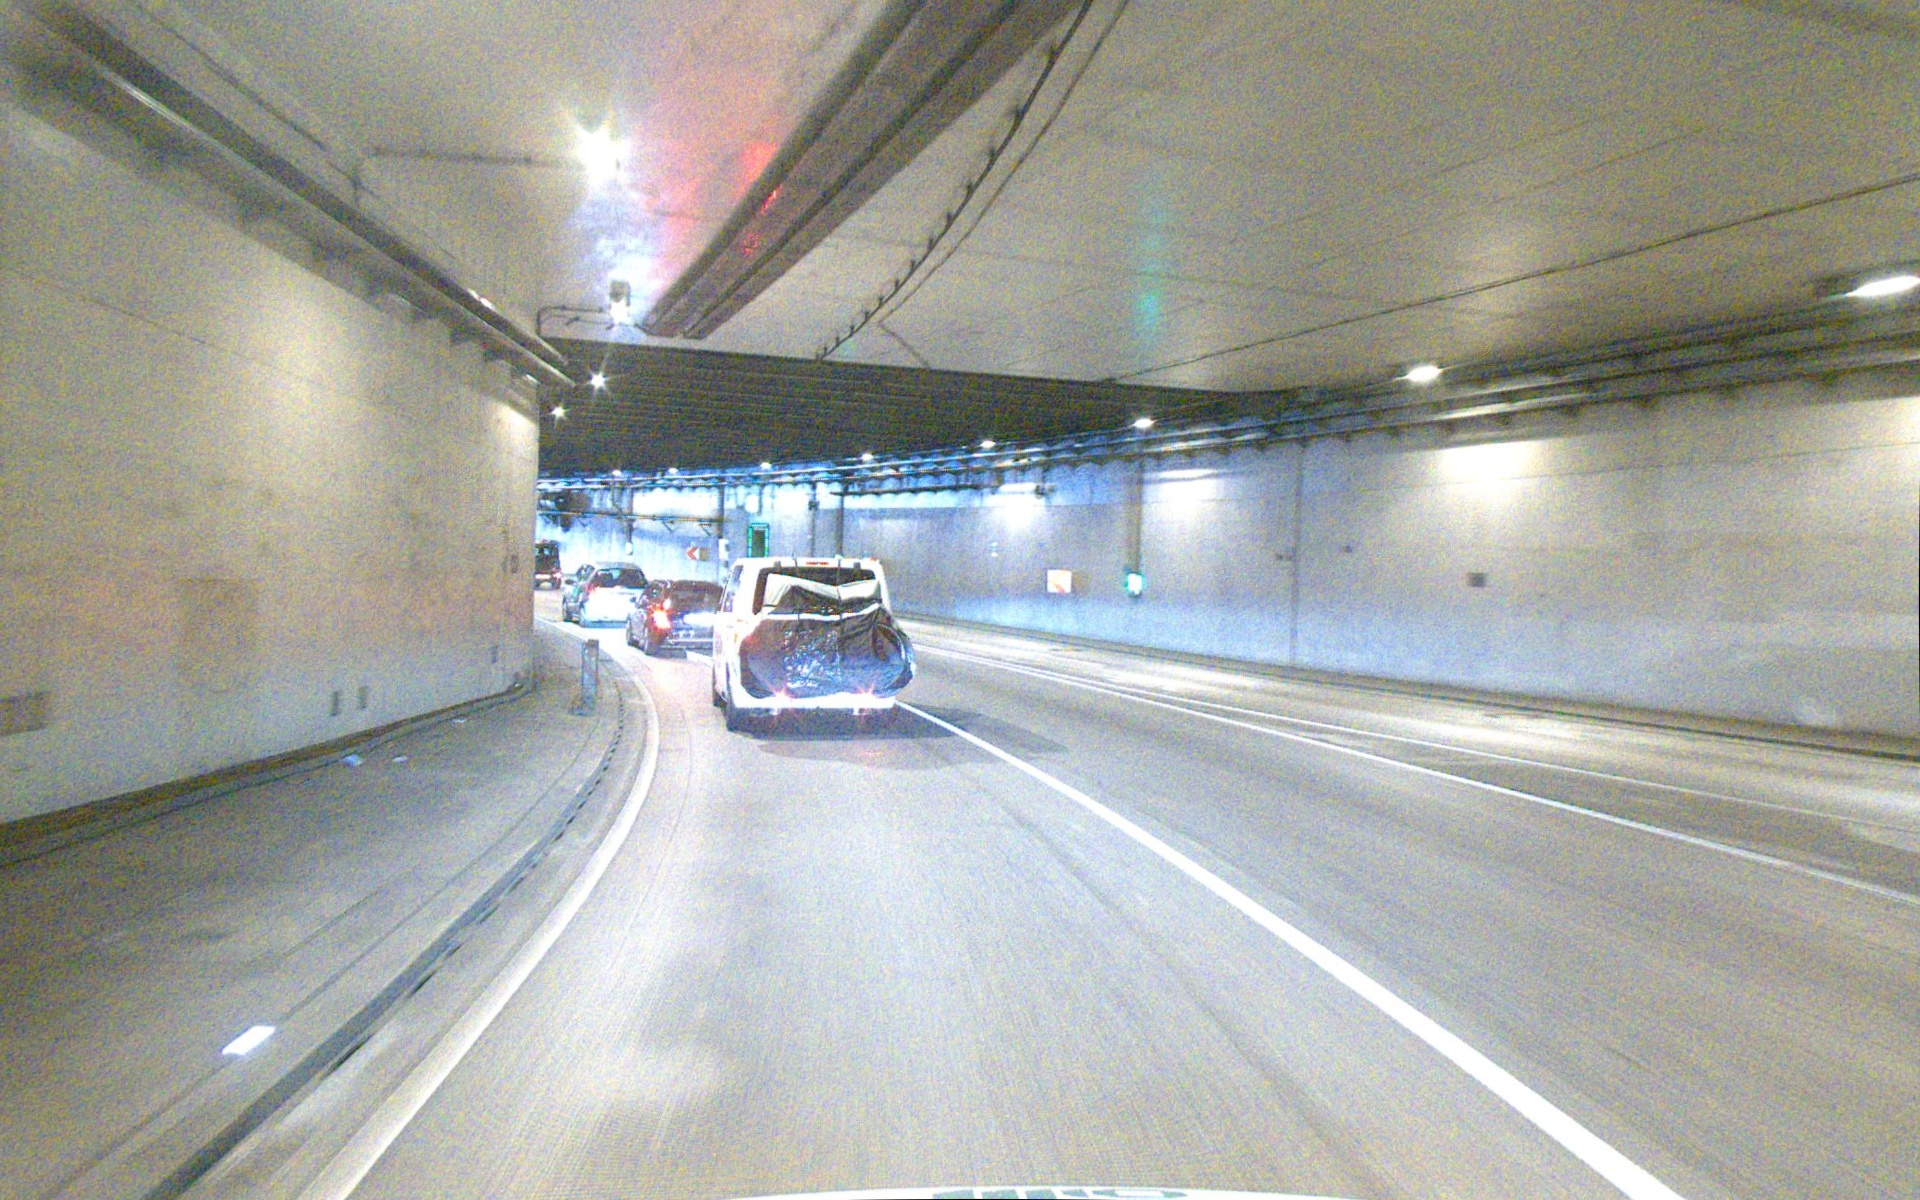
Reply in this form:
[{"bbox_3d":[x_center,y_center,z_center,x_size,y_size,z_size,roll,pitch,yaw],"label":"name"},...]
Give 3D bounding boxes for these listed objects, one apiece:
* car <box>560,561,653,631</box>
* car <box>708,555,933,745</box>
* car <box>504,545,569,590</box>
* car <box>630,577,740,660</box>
[{"bbox_3d":[-8.855,-0.116,41.286,1.581,1.622,3.331,3,0,-23],"label":"car"},{"bbox_3d":[-1.773,0.457,19.139,1.958,1.879,5.285,0,1,-12],"label":"car"},{"bbox_3d":[-15.975,-1.222,62.318,1.585,1.658,3.323,1,1,-29],"label":"car"},{"bbox_3d":[-5.372,0.324,32.053,1.579,1.419,3.260,1,2,-19],"label":"car"}]
